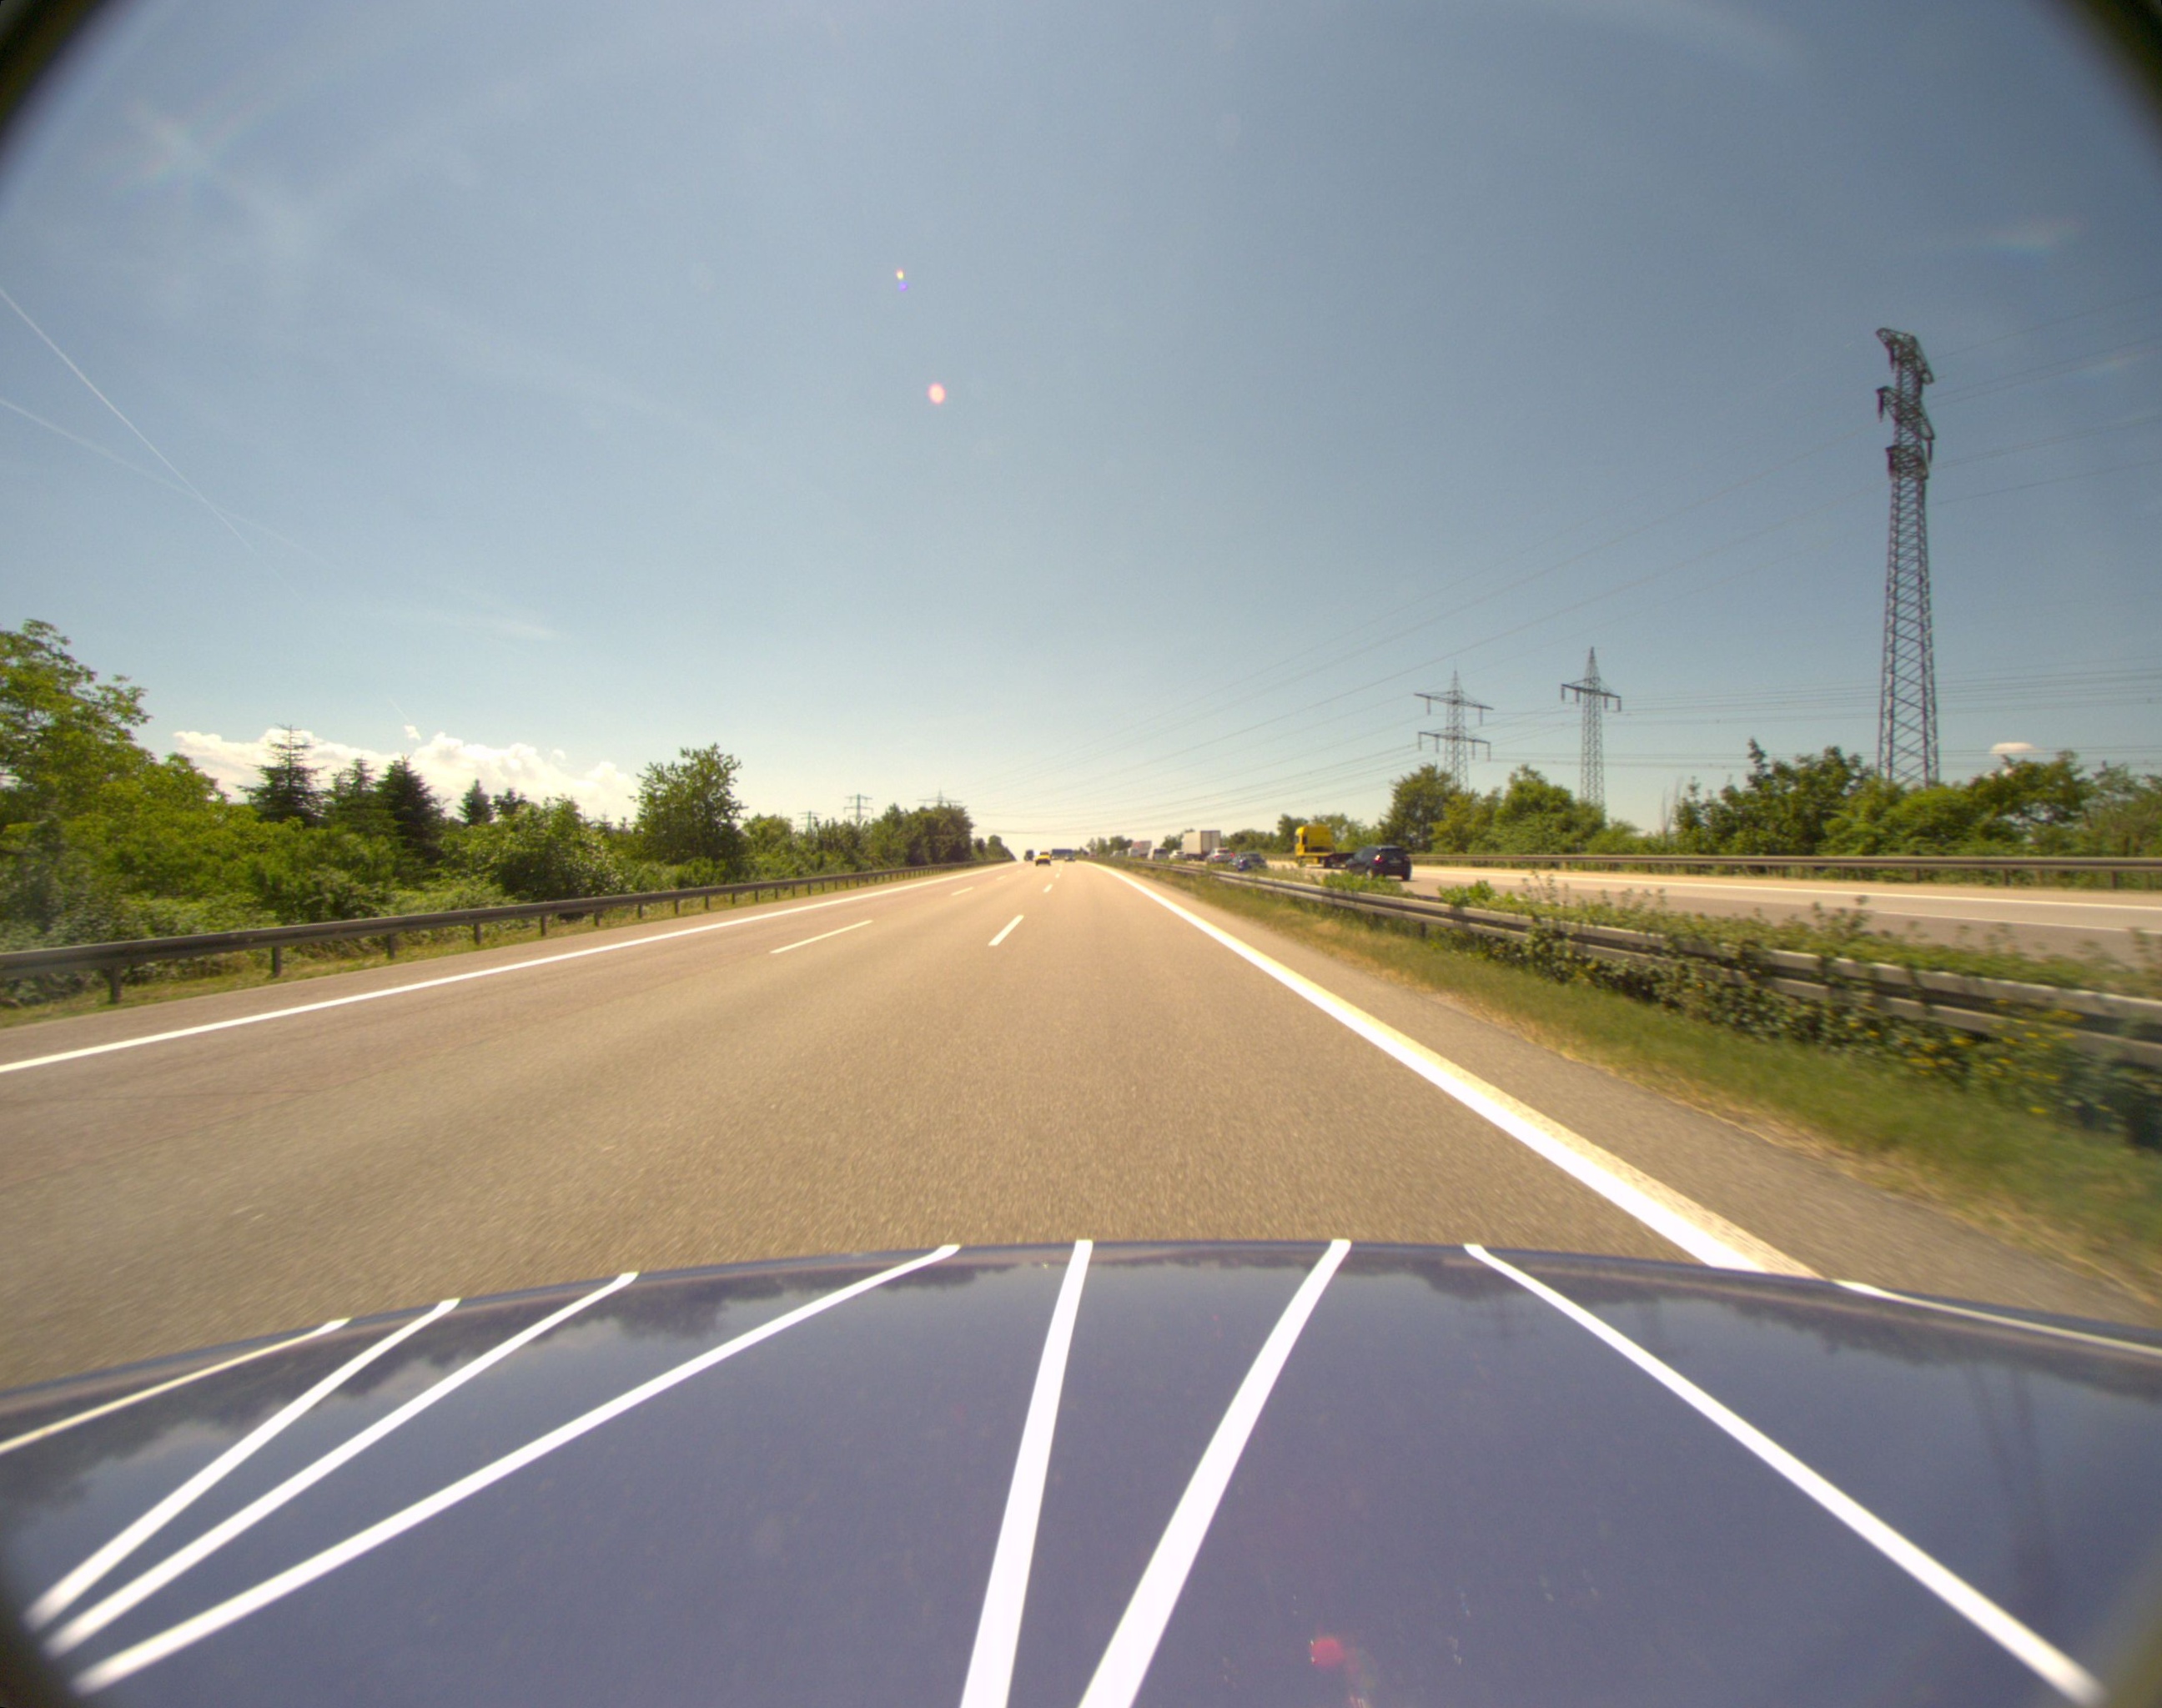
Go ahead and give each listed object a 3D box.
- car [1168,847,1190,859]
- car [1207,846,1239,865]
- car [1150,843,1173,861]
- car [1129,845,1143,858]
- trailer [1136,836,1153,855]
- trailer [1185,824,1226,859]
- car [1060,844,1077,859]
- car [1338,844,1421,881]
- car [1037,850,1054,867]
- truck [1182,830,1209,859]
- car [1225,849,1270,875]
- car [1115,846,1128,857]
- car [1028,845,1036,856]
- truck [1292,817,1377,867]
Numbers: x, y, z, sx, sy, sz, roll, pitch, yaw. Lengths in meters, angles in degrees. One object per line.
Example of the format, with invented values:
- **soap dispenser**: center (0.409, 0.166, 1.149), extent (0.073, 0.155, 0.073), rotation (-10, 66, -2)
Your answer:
- **car**: center (12.553, -0.131, 97.447), extent (1.999, 1.539, 4.726), rotation (-1, 0, -1)
- **car**: center (13.137, 0.116, 70.499), extent (1.999, 1.726, 4.813), rotation (-1, 0, -1)
- **car**: center (9.105, -0.230, 86.336), extent (1.999, 1.871, 5.721), rotation (-1, 0, -1)
- **car**: center (11.096, -0.512, 153.292), extent (1.999, 2.456, 6.488), rotation (-2, 0, -3)
- **trailer**: center (14.332, -1.817, 171.623), extent (2.513, 4.018, 13.586), rotation (-2, -1, -1)
- **trailer**: center (16.838, -1.532, 103.734), extent (2.842, 4.232, 13.637), rotation (-2, -1, -1)
- **car**: center (-2.242, -0.462, 137.499), extent (2.688, 2.509, 5.966), rotation (0, -1, -4)
- **car**: center (13.084, 0.339, 33.605), extent (1.984, 1.501, 4.235), rotation (-2, 0, 0)
- **car**: center (-4.641, 0.610, 98.311), extent (1.956, 2.001, 5.431), rotation (0, -1, -4)
- **truck**: center (16.688, -1.316, 110.913), extent (2.838, 4.057, 5.166), rotation (-2, -1, -1)
- **car**: center (9.312, 0.442, 42.645), extent (1.635, 1.346, 3.828), rotation (-2, 0, 0)
- **car**: center (7.628, -0.426, 143.314), extent (1.999, 1.928, 5.337), rotation (-2, -1, -2)
- **car**: center (-16.511, -1.081, 256.914), extent (2.688, 3.723, 6.269), rotation (0, -1, -4)
- **truck**: center (17.608, -0.814, 53.658), extent (2.528, 3.133, 9.665), rotation (-2, 0, -1)
